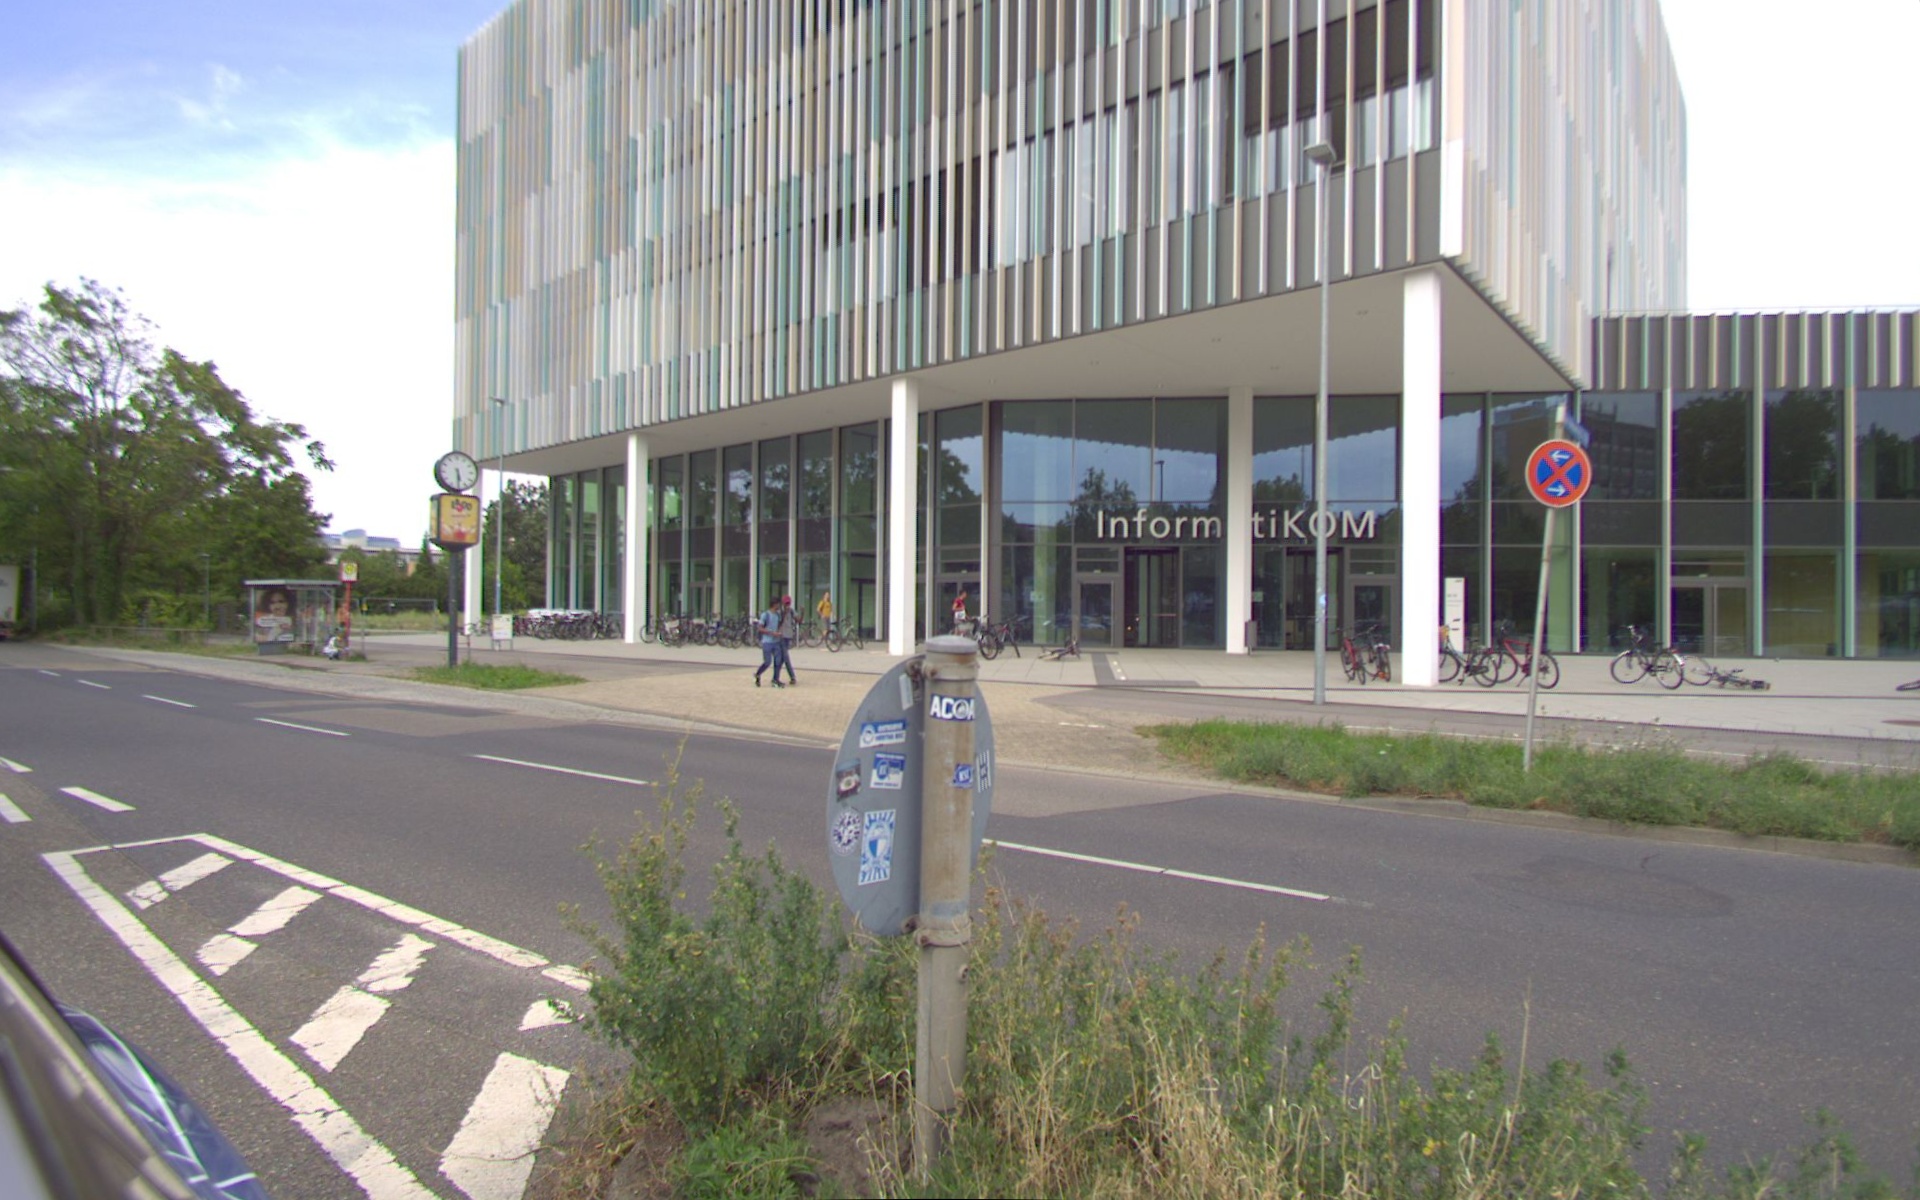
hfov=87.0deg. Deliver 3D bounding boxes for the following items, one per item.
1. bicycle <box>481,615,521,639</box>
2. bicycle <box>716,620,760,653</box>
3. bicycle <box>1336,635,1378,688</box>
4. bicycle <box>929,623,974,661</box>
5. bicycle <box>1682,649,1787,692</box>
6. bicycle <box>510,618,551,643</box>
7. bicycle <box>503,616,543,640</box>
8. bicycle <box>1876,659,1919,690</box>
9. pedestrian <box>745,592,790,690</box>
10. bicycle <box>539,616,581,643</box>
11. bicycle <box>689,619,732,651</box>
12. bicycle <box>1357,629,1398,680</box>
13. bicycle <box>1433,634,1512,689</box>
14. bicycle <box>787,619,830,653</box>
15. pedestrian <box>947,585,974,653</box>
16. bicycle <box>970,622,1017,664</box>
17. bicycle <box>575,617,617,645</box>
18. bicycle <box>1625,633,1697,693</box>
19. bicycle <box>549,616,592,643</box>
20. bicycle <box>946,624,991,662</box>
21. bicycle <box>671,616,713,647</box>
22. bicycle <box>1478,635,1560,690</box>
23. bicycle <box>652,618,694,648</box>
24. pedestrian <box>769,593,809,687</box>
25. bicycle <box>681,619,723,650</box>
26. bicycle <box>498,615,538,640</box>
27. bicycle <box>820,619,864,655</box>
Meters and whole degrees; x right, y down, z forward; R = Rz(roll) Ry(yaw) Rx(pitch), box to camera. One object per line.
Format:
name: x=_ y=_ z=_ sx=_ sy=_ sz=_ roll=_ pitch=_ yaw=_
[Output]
bicycle: x=-21.286 y=1.243 z=46.993 sx=0.434 sy=1.031 sz=1.683 roll=-1 pitch=1 yaw=36
bicycle: x=-7.557 y=1.226 z=34.504 sx=0.389 sy=1.031 sz=1.563 roll=-1 pitch=1 yaw=36
bicycle: x=7.907 y=1.212 z=20.201 sx=0.389 sy=0.944 sz=1.607 roll=-1 pitch=1 yaw=8
bicycle: x=-0.214 y=1.149 z=27.808 sx=0.389 sy=0.944 sz=1.527 roll=-1 pitch=1 yaw=36
bicycle: x=14.857 y=1.334 z=19.475 sx=0.387 sy=0.678 sz=1.800 roll=-1 pitch=1 yaw=-11
bicycle: x=-18.833 y=1.325 z=44.398 sx=0.434 sy=1.031 sz=1.683 roll=-1 pitch=1 yaw=36
bicycle: x=-19.576 y=1.242 z=45.365 sx=0.434 sy=1.031 sz=1.683 roll=-1 pitch=1 yaw=36
bicycle: x=17.932 y=1.382 z=18.245 sx=0.614 sy=0.526 sz=2.253 roll=0 pitch=-1 yaw=-6
pedestrian: x=-3.756 y=0.794 z=19.724 sx=0.772 sy=1.851 sz=0.505 roll=-2 pitch=-2 yaw=41
bicycle: x=-16.932 y=1.240 z=42.875 sx=0.434 sy=1.031 sz=1.683 roll=-1 pitch=1 yaw=36
bicycle: x=-8.787 y=1.221 z=35.650 sx=0.389 sy=1.031 sz=1.563 roll=-1 pitch=1 yaw=36
bicycle: x=8.673 y=1.119 z=21.084 sx=0.389 sy=0.944 sz=1.594 roll=-1 pitch=1 yaw=8
bicycle: x=9.939 y=1.180 z=19.671 sx=0.387 sy=0.944 sz=1.603 roll=-1 pitch=1 yaw=-15
bicycle: x=-4.905 y=1.169 z=32.921 sx=0.389 sy=1.031 sz=1.563 roll=-1 pitch=1 yaw=36
pedestrian: x=0.018 y=0.582 z=31.057 sx=0.505 sy=2.059 sz=0.625 roll=1 pitch=-2 yaw=-44
bicycle: x=0.896 y=1.122 z=26.764 sx=0.399 sy=1.002 sz=1.527 roll=-1 pitch=1 yaw=37
bicycle: x=-14.882 y=1.258 z=41.434 sx=0.389 sy=1.031 sz=1.683 roll=-1 pitch=1 yaw=36
bicycle: x=13.420 y=1.182 z=19.424 sx=0.389 sy=1.037 sz=1.544 roll=-1 pitch=1 yaw=4
bicycle: x=-16.283 y=1.220 z=42.324 sx=0.434 sy=1.031 sz=1.683 roll=-1 pitch=1 yaw=36
bicycle: x=0.245 y=1.152 z=27.303 sx=0.393 sy=0.944 sz=1.527 roll=-1 pitch=1 yaw=36
bicycle: x=-9.629 y=1.126 z=36.374 sx=0.389 sy=1.031 sz=1.563 roll=-1 pitch=1 yaw=36
bicycle: x=10.907 y=1.200 z=19.795 sx=0.387 sy=0.944 sz=1.603 roll=-1 pitch=1 yaw=-15
bicycle: x=-10.519 y=1.206 z=37.084 sx=0.389 sy=1.031 sz=1.563 roll=-1 pitch=1 yaw=36
pedestrian: x=-3.406 y=0.791 z=20.151 sx=0.624 sy=1.851 sz=0.505 roll=-2 pitch=-2 yaw=41
bicycle: x=-9.175 y=1.213 z=36.036 sx=0.389 sy=1.031 sz=1.563 roll=-1 pitch=1 yaw=36
bicycle: x=-20.121 y=1.242 z=46.075 sx=0.434 sy=1.031 sz=1.683 roll=-1 pitch=1 yaw=36
bicycle: x=-3.639 y=1.129 z=31.234 sx=0.389 sy=1.031 sz=1.563 roll=-1 pitch=1 yaw=36
